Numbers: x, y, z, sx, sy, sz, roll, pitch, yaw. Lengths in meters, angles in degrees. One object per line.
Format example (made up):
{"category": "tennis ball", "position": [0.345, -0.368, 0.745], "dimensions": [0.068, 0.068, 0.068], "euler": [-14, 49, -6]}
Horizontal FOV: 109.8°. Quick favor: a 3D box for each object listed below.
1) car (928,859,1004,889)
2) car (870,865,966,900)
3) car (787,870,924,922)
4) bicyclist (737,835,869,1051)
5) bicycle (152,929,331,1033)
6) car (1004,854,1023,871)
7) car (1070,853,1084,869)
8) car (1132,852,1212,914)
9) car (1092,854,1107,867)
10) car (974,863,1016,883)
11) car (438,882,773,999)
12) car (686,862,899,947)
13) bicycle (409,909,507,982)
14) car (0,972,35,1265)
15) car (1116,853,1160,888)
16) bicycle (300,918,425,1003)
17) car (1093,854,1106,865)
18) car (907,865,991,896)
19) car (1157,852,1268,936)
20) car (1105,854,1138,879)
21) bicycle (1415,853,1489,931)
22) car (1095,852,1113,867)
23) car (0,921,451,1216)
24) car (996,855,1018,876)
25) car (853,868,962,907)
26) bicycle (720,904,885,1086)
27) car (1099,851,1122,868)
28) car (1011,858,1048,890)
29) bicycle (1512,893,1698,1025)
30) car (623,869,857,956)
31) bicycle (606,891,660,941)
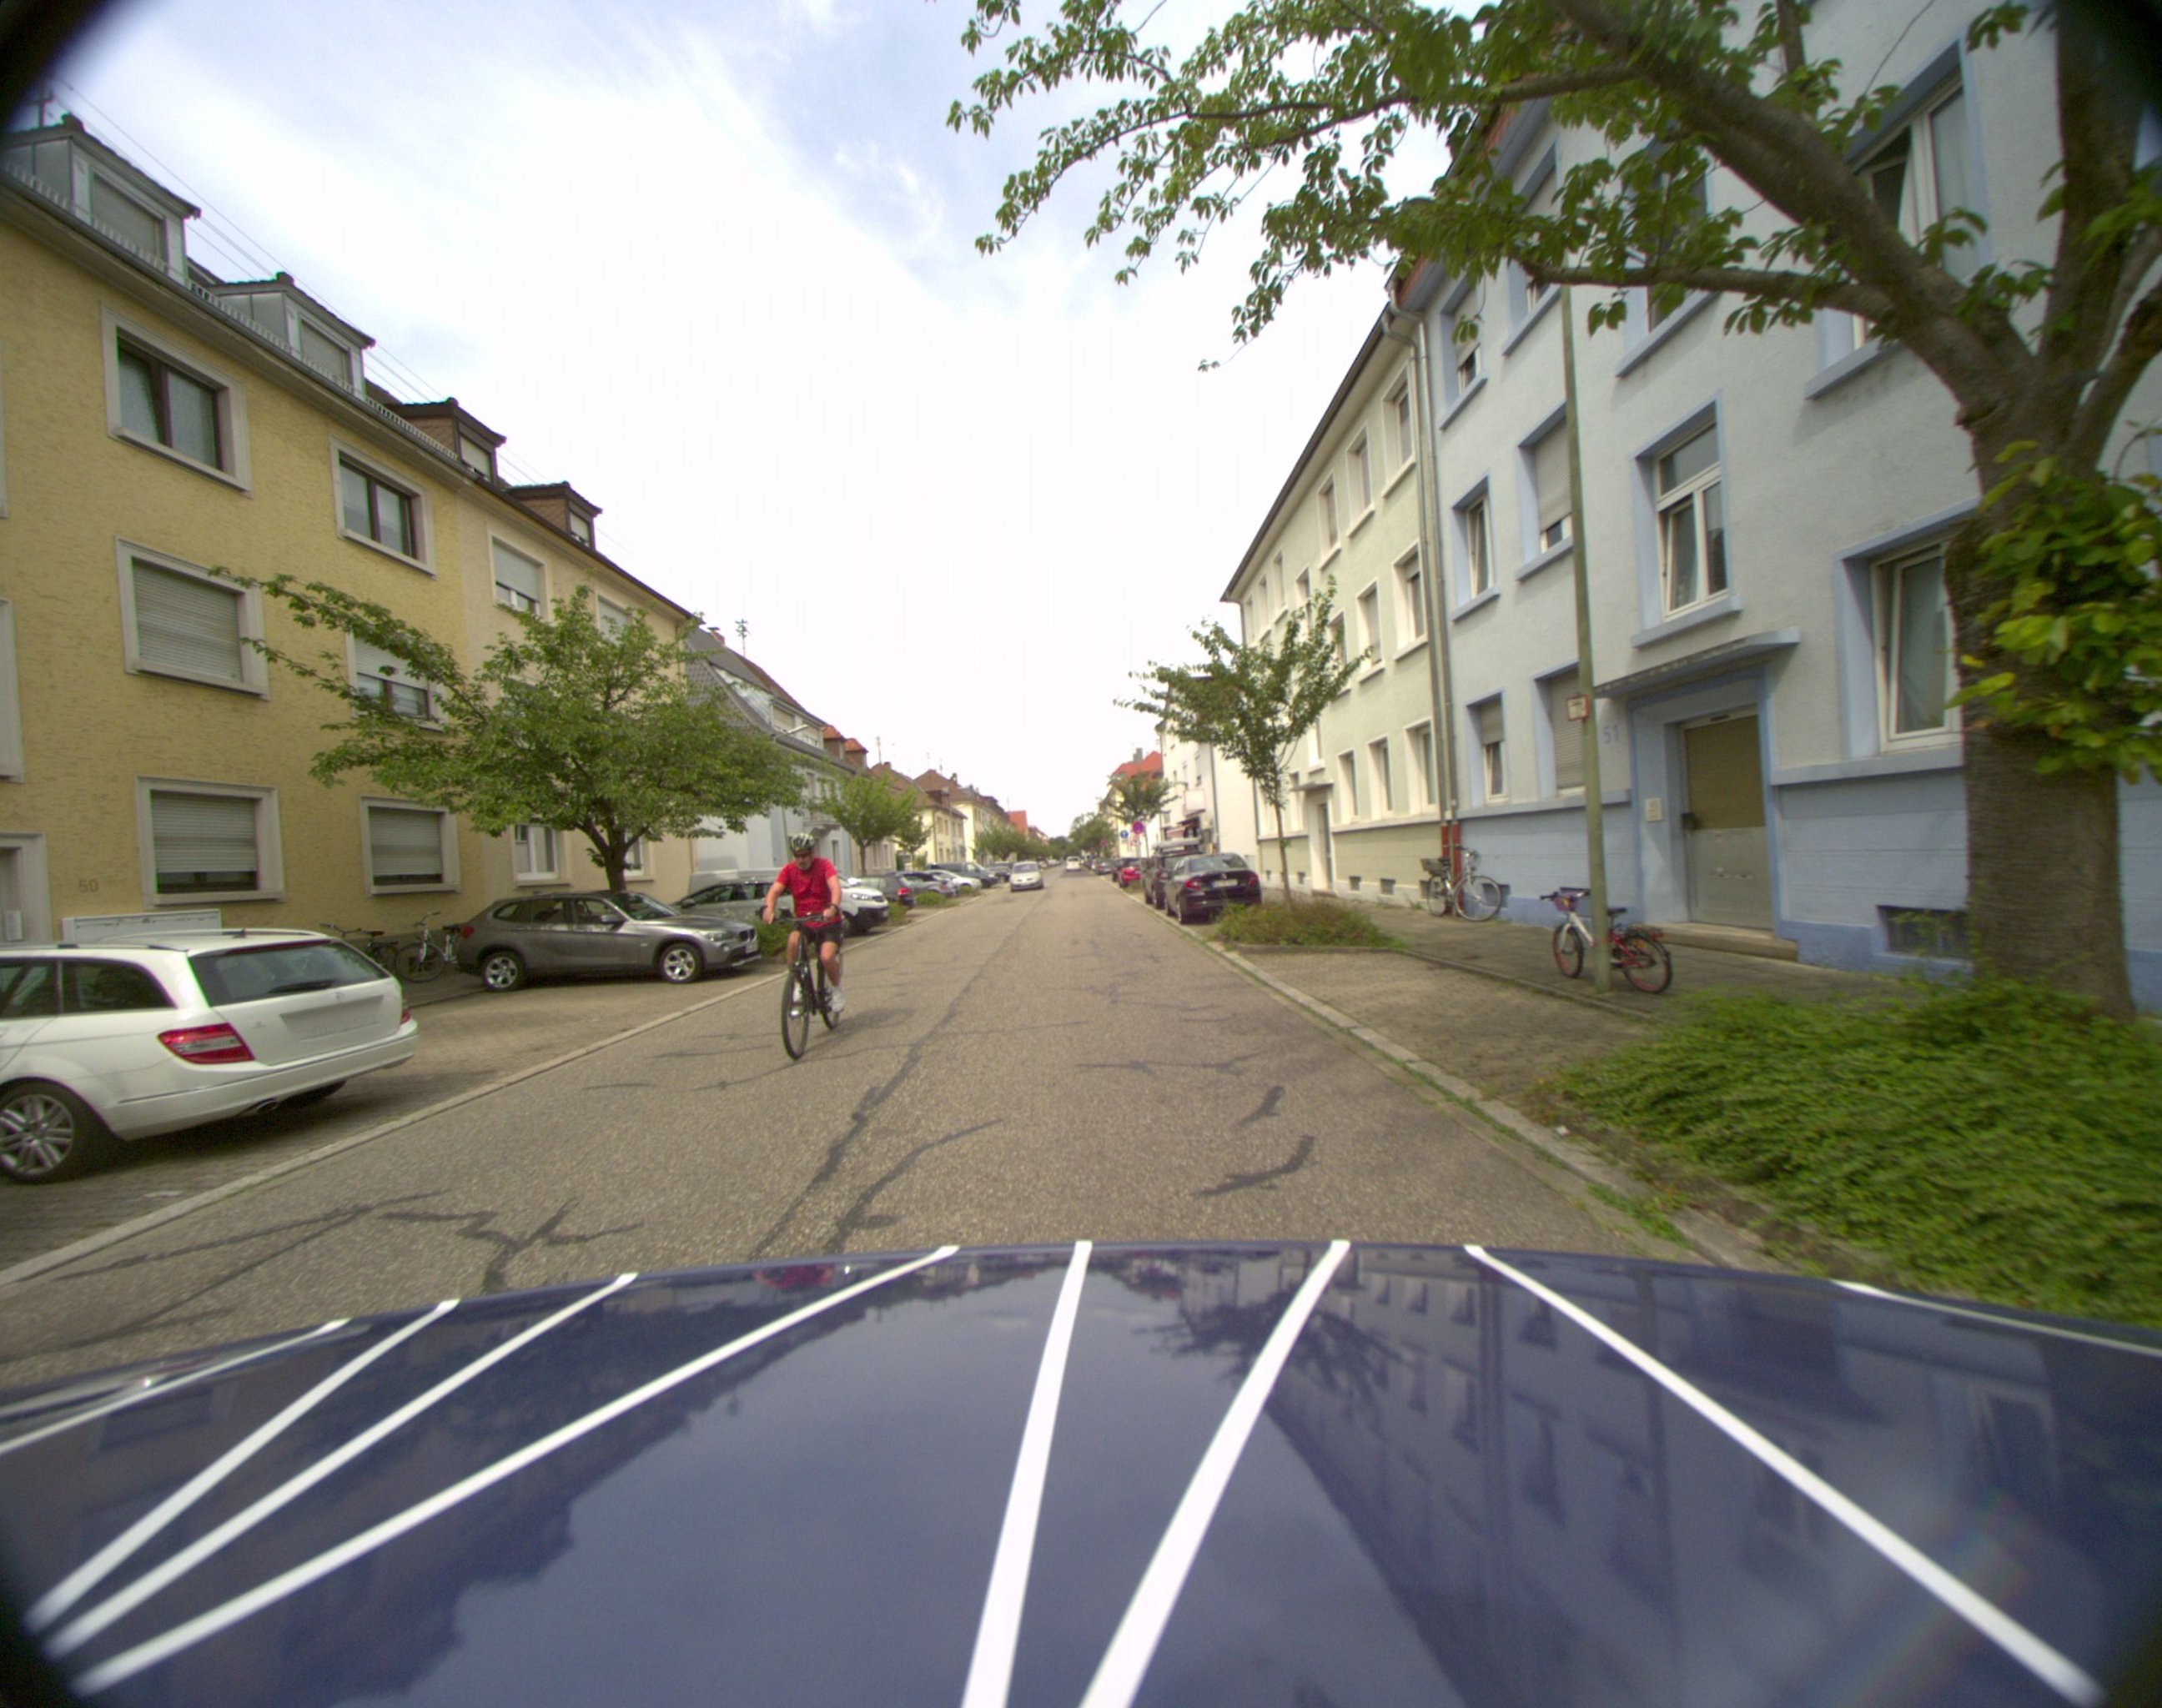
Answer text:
{"category": "car", "position": [-7.669, 1.305, 50.993], "dimensions": [4.720, 1.817, 1.870], "euler": [-2, 1, -1]}
{"category": "car", "position": [-8.261, 1.435, 38.760], "dimensions": [4.401, 1.603, 1.871], "euler": [-2, 1, 5]}
{"category": "car", "position": [-7.619, 1.400, 25.916], "dimensions": [4.120, 1.527, 1.710], "euler": [-2, 1, -2]}
{"category": "bicyclist", "position": [-2.454, 0.742, 6.832], "dimensions": [0.694, 1.760, 0.986], "euler": [-4, 1, -1]}
{"category": "bicycle", "position": [-11.583, 1.704, 10.576], "dimensions": [0.538, 1.133, 1.755], "euler": [-2, 1, -2]}
{"category": "car", "position": [-7.010, 0.852, 79.381], "dimensions": [1.646, 1.666, 3.443], "euler": [-4, 0, -1]}
{"category": "car", "position": [-0.566, 0.890, 103.780], "dimensions": [1.757, 2.098, 3.620], "euler": [-2, 1, 0]}
{"category": "car", "position": [2.678, 0.806, 23.342], "dimensions": [1.697, 1.573, 4.248], "euler": [-5, 1, -2]}
{"category": "car", "position": [2.294, 0.776, 94.780], "dimensions": [1.711, 1.495, 3.443], "euler": [-2, 1, 0]}
{"category": "car", "position": [-7.425, 1.594, 65.632], "dimensions": [3.442, 1.438, 1.646], "euler": [-4, 0, -4]}
{"category": "car", "position": [-7.675, 1.369, 12.605], "dimensions": [4.318, 1.588, 1.850], "euler": [-2, 1, -1]}
{"category": "car", "position": [-7.329, 1.254, 19.658], "dimensions": [4.751, 1.899, 1.850], "euler": [-2, 1, -1]}
{"category": "bicycle", "position": [-11.592, 1.676, 14.201], "dimensions": [0.480, 1.133, 1.635], "euler": [-2, 1, -2]}
{"category": "car", "position": [-7.301, 1.361, 2.803], "dimensions": [4.104, 1.406, 1.850], "euler": [-2, 1, -2]}
{"category": "car", "position": [2.783, 0.784, 37.835], "dimensions": [1.711, 1.591, 4.115], "euler": [-2, 1, -2]}
{"category": "bicycle", "position": [-11.639, 1.691, 12.385], "dimensions": [0.480, 1.133, 1.635], "euler": [-2, 1, -2]}
{"category": "car", "position": [2.427, 0.733, 102.620], "dimensions": [1.626, 1.495, 3.443], "euler": [-2, 1, 0]}
{"category": "car", "position": [-7.383, 1.487, 42.793], "dimensions": [4.403, 1.527, 1.870], "euler": [-2, 1, -1]}
{"category": "car", "position": [2.893, 0.805, 17.601], "dimensions": [1.706, 1.533, 4.249], "euler": [-6, 1, 0]}
{"category": "car", "position": [2.537, 0.756, 47.864], "dimensions": [1.711, 1.477, 3.442], "euler": [-2, 1, -2]}
{"category": "bicycle", "position": [5.720, 0.546, 11.783], "dimensions": [0.368, 1.107, 1.538], "euler": [-2, 1, -1]}
{"category": "car", "position": [2.383, 0.543, 79.678], "dimensions": [1.711, 1.495, 3.443], "euler": [-2, 1, 0]}
{"category": "car", "position": [-7.485, 1.375, 5.259], "dimensions": [4.559, 1.501, 1.850], "euler": [-2, 1, -2]}
{"category": "car", "position": [-7.024, 1.062, 72.137], "dimensions": [1.646, 1.816, 3.443], "euler": [-4, 0, -1]}
{"category": "car", "position": [-7.660, 1.462, 33.851], "dimensions": [4.404, 1.491, 1.710], "euler": [-2, 1, -2]}
{"category": "bicycle", "position": [-2.406, 1.159, 6.847], "dimensions": [0.693, 1.220, 1.936], "euler": [-4, 1, -1]}
{"category": "car", "position": [2.559, 0.465, 66.700], "dimensions": [1.711, 1.438, 3.442], "euler": [-2, 1, -2]}
{"category": "car", "position": [-2.916, 1.095, 43.971], "dimensions": [1.788, 1.595, 4.835], "euler": [-4, 0, -1]}
{"category": "bicycle", "position": [4.410, 0.836, 6.526], "dimensions": [0.414, 0.868, 1.538], "euler": [-8, 1, -1]}
{"category": "car", "position": [-7.452, 1.248, 16.919], "dimensions": [4.318, 1.674, 1.850], "euler": [-2, 0, -1]}
{"category": "bicycle", "position": [-11.685, 1.598, 19.872], "dimensions": [0.480, 1.133, 1.635], "euler": [-2, 1, -2]}
